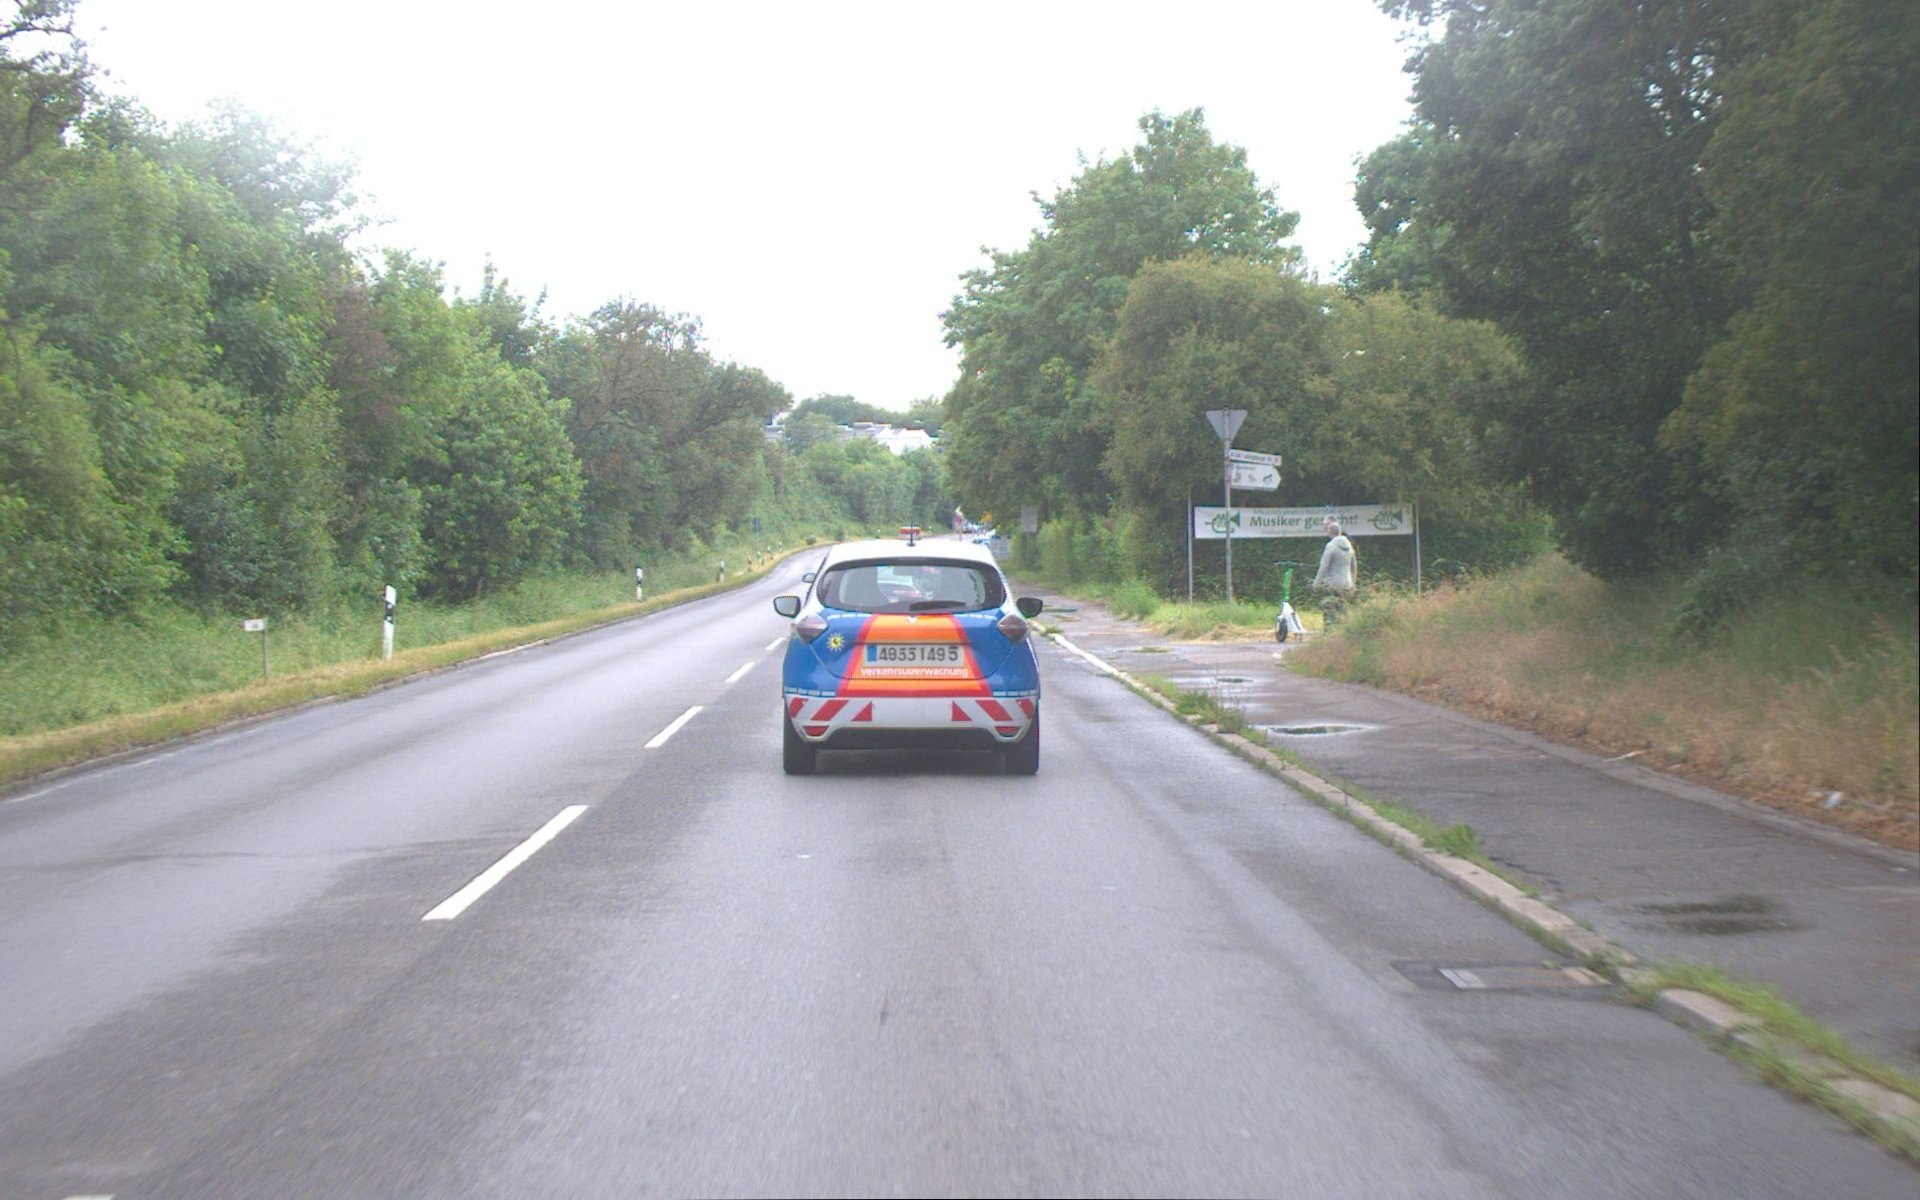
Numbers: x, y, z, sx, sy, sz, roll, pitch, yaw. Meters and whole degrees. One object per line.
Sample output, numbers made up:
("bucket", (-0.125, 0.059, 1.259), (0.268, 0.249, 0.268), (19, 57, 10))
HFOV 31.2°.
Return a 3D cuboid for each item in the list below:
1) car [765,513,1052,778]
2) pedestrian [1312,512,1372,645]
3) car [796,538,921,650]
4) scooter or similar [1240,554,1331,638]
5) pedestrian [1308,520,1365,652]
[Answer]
("car", (-0.373, 0.270, 24.045), (1.806, 1.662, 3.856), (1, 1, -1))
("pedestrian", (5.330, -0.299, 47.988), (0.693, 1.821, 0.801), (-1, 1, -1))
("car", (-1.499, -0.107, 51.820), (1.694, 1.590, 3.856), (1, 1, 1))
("scooter or similar", (4.739, -0.056, 50.046), (1.326, 1.202, 0.373), (0, 1, 40))
("pedestrian", (5.166, -0.196, 47.195), (0.661, 1.772, 0.760), (-1, 1, -1))
